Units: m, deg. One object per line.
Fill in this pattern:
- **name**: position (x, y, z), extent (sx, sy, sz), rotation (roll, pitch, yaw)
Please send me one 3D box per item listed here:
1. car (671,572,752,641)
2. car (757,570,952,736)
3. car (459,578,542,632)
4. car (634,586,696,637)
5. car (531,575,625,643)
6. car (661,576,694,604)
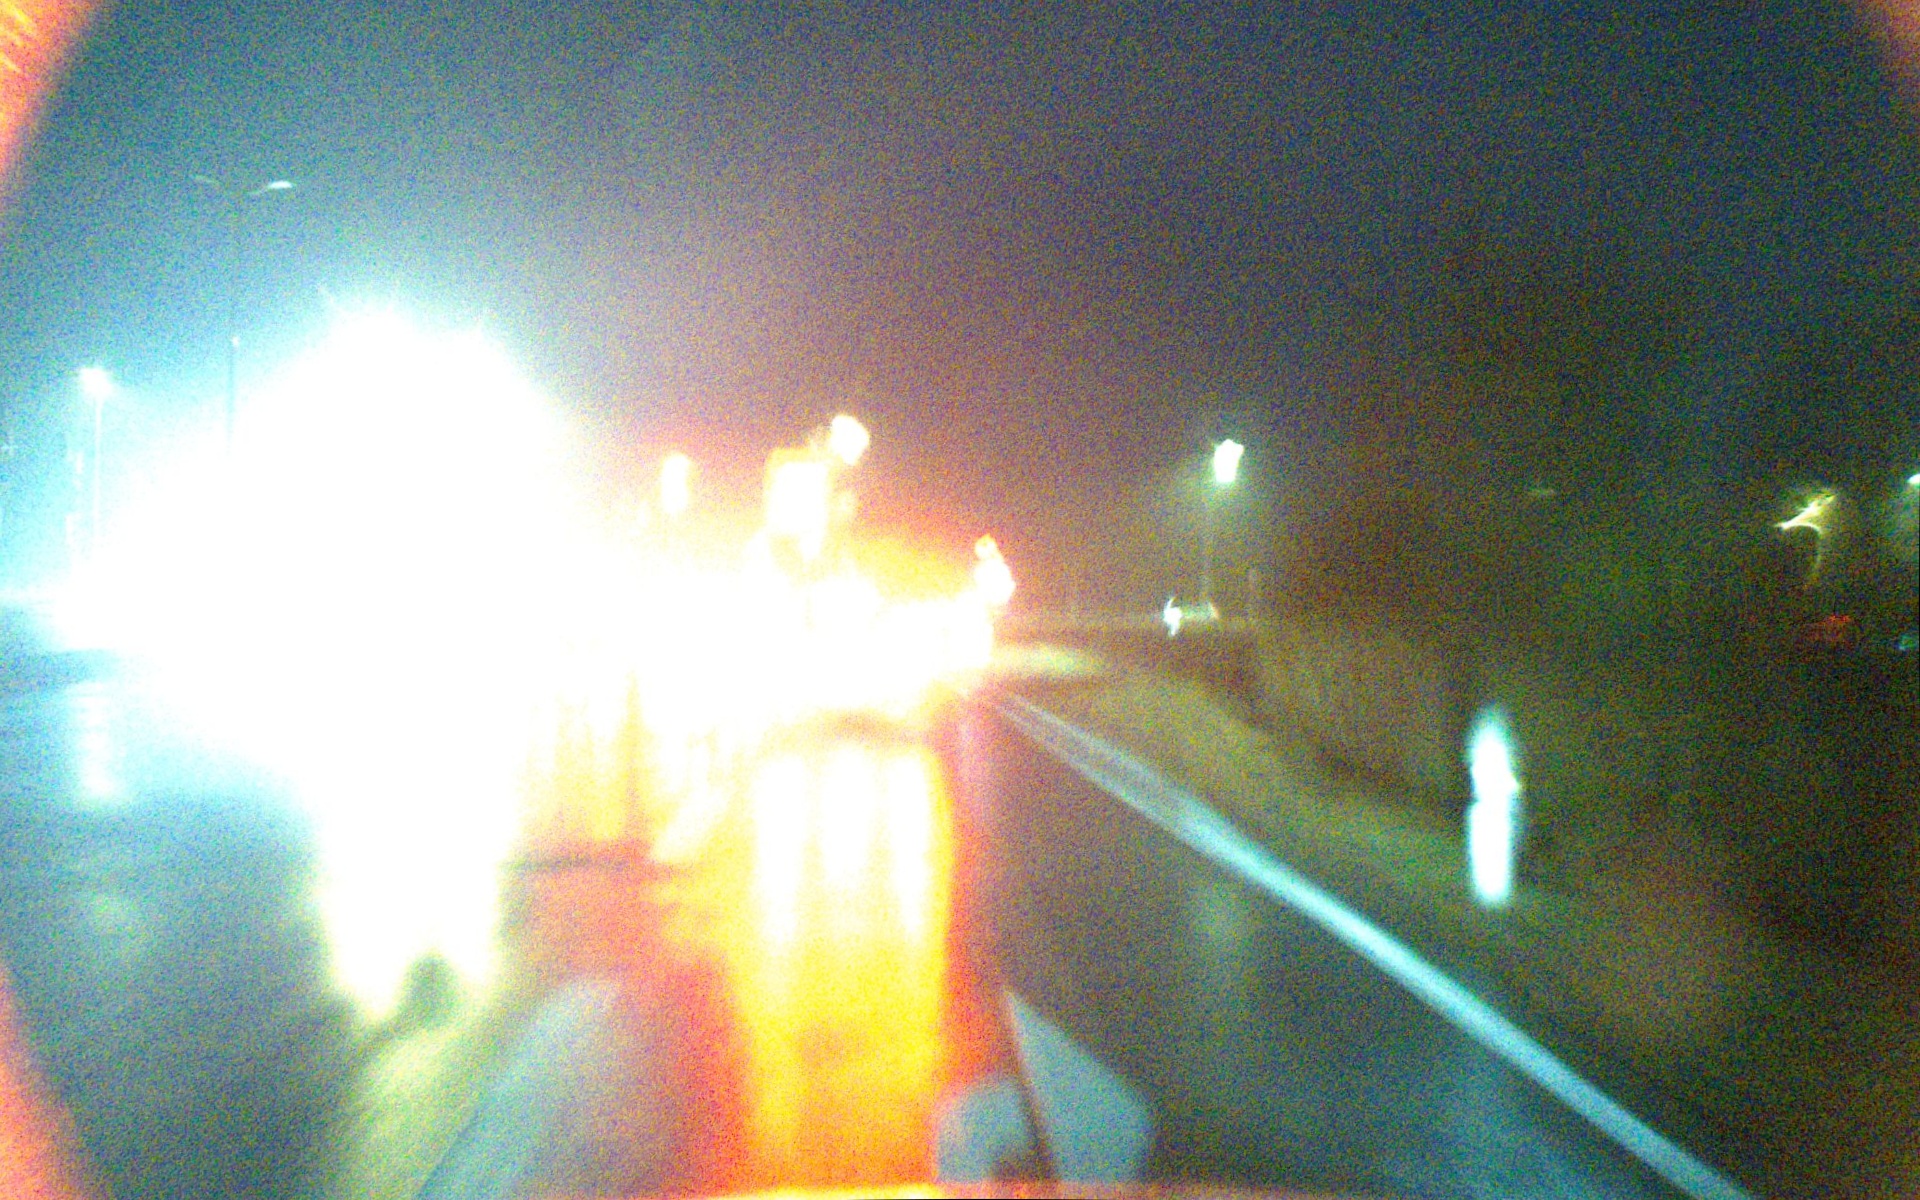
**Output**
- **car**: position (-6.516, 0.124, 43.513), extent (1.956, 1.656, 4.976), rotation (-1, 1, -8)
- **car**: position (-1.207, 0.577, 19.359), extent (1.954, 1.656, 4.981), rotation (1, -1, -3)
- **car**: position (-15.106, 0.115, 54.614), extent (1.956, 1.656, 4.976), rotation (-1, 1, -8)
- **car**: position (-10.432, 0.372, 58.839), extent (1.956, 1.656, 4.976), rotation (-1, 1, -8)
- **car**: position (-10.036, 0.181, 43.804), extent (1.956, 1.656, 4.976), rotation (-1, 1, -8)
- **car**: position (-17.882, -0.636, 104.443), extent (1.958, 1.656, 4.972), rotation (-1, 1, -11)
